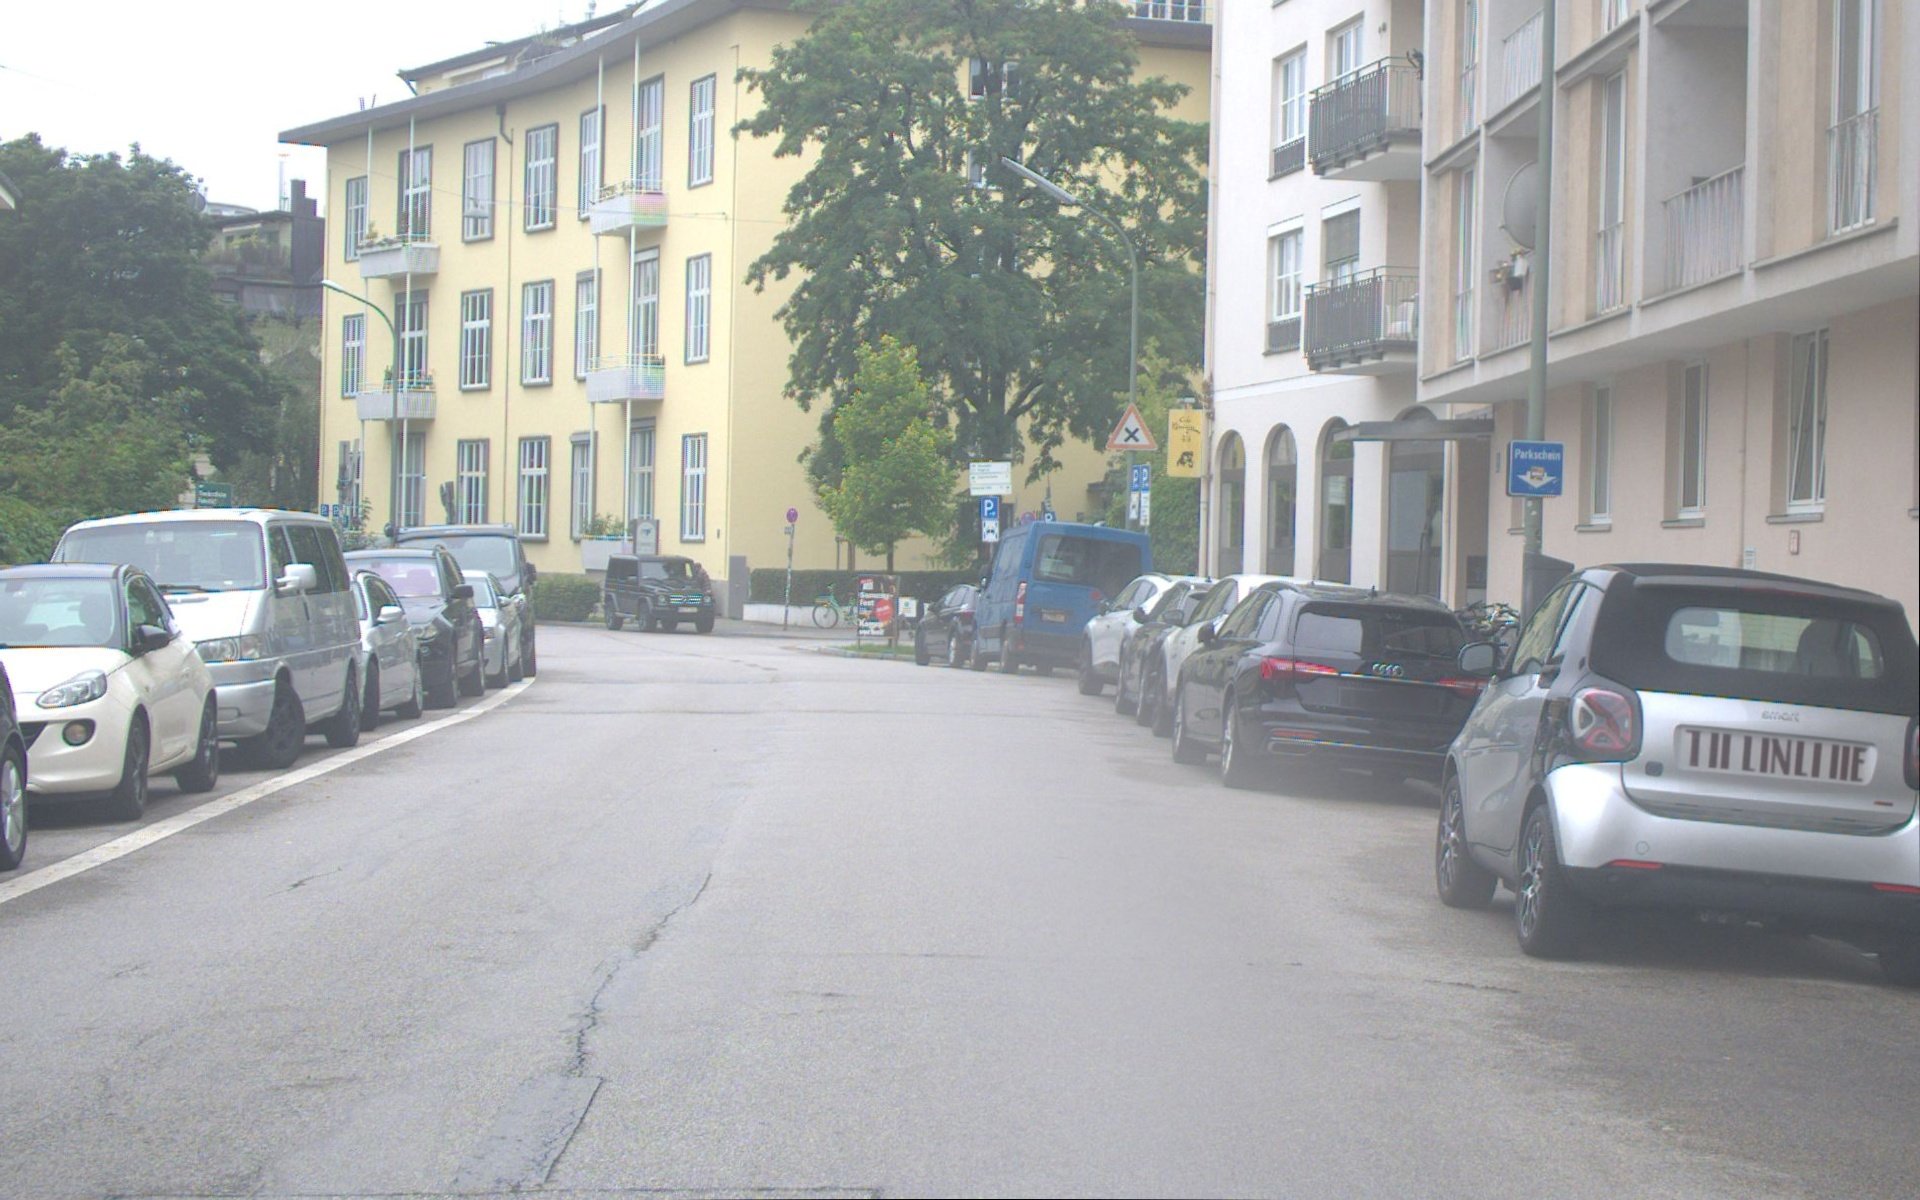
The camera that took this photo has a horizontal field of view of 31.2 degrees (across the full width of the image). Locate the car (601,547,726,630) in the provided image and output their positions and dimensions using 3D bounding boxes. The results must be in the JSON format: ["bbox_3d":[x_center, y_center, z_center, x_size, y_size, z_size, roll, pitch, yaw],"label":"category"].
[{"bbox_3d":[-7.652,-0.312,88.352,1.762,1.868,4.380,5,0,-23],"label":"car"}]

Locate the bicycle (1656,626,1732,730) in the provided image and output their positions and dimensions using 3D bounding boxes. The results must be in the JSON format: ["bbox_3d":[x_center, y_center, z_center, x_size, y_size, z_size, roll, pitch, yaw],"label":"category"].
[{"bbox_3d":[6.789,0.715,31.837,0.378,0.902,1.392,1,1,-1],"label":"bicycle"}]

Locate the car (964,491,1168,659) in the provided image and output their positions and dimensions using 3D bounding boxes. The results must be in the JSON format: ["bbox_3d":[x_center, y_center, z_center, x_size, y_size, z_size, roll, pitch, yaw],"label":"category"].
[{"bbox_3d":[1.526,-0.312,51.959,2.078,2.226,5.245,5,-2,-7],"label":"car"}]

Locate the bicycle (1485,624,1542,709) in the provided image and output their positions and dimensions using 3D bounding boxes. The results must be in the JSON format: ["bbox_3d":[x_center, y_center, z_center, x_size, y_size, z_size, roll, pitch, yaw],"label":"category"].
[{"bbox_3d":[6.179,0.733,38.391,0.378,0.902,1.392,1,1,-1],"label":"bicycle"}]

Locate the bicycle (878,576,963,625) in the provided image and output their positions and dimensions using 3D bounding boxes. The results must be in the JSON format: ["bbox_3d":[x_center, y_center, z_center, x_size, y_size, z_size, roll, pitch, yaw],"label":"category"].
[{"bbox_3d":[-1.020,-0.001,88.241,2.068,1.197,0.595,2,1,13],"label":"bicycle"}]

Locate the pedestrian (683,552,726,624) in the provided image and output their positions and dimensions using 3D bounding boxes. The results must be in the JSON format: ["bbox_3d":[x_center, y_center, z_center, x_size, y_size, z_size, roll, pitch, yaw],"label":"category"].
[{"bbox_3d":[-6.586,-0.317,88.580,0.874,1.817,0.798,1,1,-22],"label":"pedestrian"}]

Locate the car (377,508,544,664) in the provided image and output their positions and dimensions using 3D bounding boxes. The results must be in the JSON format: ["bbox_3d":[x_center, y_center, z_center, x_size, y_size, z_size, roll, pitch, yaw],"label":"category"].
[{"bbox_3d":[-6.713,-0.206,46.703,2.072,1.957,5.351,-1,1,-7],"label":"car"}]

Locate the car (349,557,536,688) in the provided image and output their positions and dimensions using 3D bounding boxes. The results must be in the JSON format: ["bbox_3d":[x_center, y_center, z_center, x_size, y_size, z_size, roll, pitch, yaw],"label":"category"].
[{"bbox_3d":[-6.182,0.229,41.467,1.694,1.388,4.501,-3,1,-3],"label":"car"}]

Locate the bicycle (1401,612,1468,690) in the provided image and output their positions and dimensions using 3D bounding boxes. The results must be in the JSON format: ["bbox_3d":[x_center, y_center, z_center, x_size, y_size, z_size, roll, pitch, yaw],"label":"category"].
[{"bbox_3d":[5.927,0.627,42.999,0.455,0.920,1.736,1,1,-4],"label":"bicycle"}]

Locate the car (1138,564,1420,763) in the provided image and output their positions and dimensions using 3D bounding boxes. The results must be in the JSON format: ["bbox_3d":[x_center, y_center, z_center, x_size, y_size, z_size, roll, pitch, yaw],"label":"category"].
[{"bbox_3d":[2.685,0.487,29.926,1.694,1.484,4.581,3,1,-3],"label":"car"}]

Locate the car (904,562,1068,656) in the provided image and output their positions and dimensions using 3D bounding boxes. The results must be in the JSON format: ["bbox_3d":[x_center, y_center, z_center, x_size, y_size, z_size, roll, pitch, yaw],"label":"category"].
[{"bbox_3d":[0.388,0.129,58.090,1.676,1.384,4.307,5,0,-13],"label":"car"}]

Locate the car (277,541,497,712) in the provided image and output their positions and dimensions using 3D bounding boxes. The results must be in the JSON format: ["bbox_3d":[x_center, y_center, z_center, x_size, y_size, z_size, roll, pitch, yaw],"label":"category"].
[{"bbox_3d":[-5.954,0.228,36.163,1.697,1.637,4.491,-2,1,-2],"label":"car"}]

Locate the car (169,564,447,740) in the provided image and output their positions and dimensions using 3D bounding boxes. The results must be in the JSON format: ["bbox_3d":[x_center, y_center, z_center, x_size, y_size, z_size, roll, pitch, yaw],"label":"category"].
[{"bbox_3d":[-5.857,0.416,31.406,1.653,1.409,4.771,-2,1,-1],"label":"car"}]

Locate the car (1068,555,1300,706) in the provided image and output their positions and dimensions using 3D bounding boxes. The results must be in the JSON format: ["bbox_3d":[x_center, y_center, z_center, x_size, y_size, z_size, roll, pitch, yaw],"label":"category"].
[{"bbox_3d":[2.553,0.308,40.289,1.785,1.528,4.649,4,0,-7],"label":"car"}]

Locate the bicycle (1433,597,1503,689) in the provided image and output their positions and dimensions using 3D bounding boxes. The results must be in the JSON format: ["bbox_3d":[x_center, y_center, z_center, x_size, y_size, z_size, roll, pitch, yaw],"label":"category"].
[{"bbox_3d":[6.436,0.530,43.624,0.455,1.107,1.854,1,1,-4],"label":"bicycle"}]

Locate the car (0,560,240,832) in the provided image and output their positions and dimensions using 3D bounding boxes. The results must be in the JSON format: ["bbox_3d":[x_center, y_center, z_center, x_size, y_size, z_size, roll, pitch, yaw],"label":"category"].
[{"bbox_3d":[-5.412,0.503,20.410,1.591,1.436,4.019,-2,1,-3],"label":"car"}]

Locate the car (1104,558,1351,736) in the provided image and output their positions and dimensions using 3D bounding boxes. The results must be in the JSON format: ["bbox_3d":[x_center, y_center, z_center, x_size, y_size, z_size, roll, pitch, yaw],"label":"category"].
[{"bbox_3d":[2.627,0.415,34.959,1.879,1.517,5.164,4,1,-1],"label":"car"}]

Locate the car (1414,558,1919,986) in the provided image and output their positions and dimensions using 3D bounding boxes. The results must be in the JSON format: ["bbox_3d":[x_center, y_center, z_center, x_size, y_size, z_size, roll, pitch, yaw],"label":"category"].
[{"bbox_3d":[2.961,0.627,14.189,1.650,1.490,2.881,4,1,-1],"label":"car"}]

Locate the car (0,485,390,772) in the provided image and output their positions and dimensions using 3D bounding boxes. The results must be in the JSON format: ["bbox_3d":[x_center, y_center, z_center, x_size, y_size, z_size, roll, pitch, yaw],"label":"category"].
[{"bbox_3d":[-5.600,0.164,25.587,1.887,1.883,4.774,-2,1,0],"label":"car"}]

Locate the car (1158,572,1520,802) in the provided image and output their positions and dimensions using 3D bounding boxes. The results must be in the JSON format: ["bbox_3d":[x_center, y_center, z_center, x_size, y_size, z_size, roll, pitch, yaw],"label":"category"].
[{"bbox_3d":[2.625,0.551,24.982,1.745,1.383,4.954,3,1,-3],"label":"car"}]

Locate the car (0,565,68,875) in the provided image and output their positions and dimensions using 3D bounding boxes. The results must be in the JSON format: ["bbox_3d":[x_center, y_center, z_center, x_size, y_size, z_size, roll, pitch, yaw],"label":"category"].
[{"bbox_3d":[-5.229,0.594,15.159,1.603,1.425,4.252,-2,1,-2],"label":"car"}]

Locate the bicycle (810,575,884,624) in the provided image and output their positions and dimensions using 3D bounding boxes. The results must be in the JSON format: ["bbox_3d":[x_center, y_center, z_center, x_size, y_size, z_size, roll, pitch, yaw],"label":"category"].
[{"bbox_3d":[-2.944,-0.015,89.393,1.926,1.197,0.594,2,1,36],"label":"bicycle"}]
